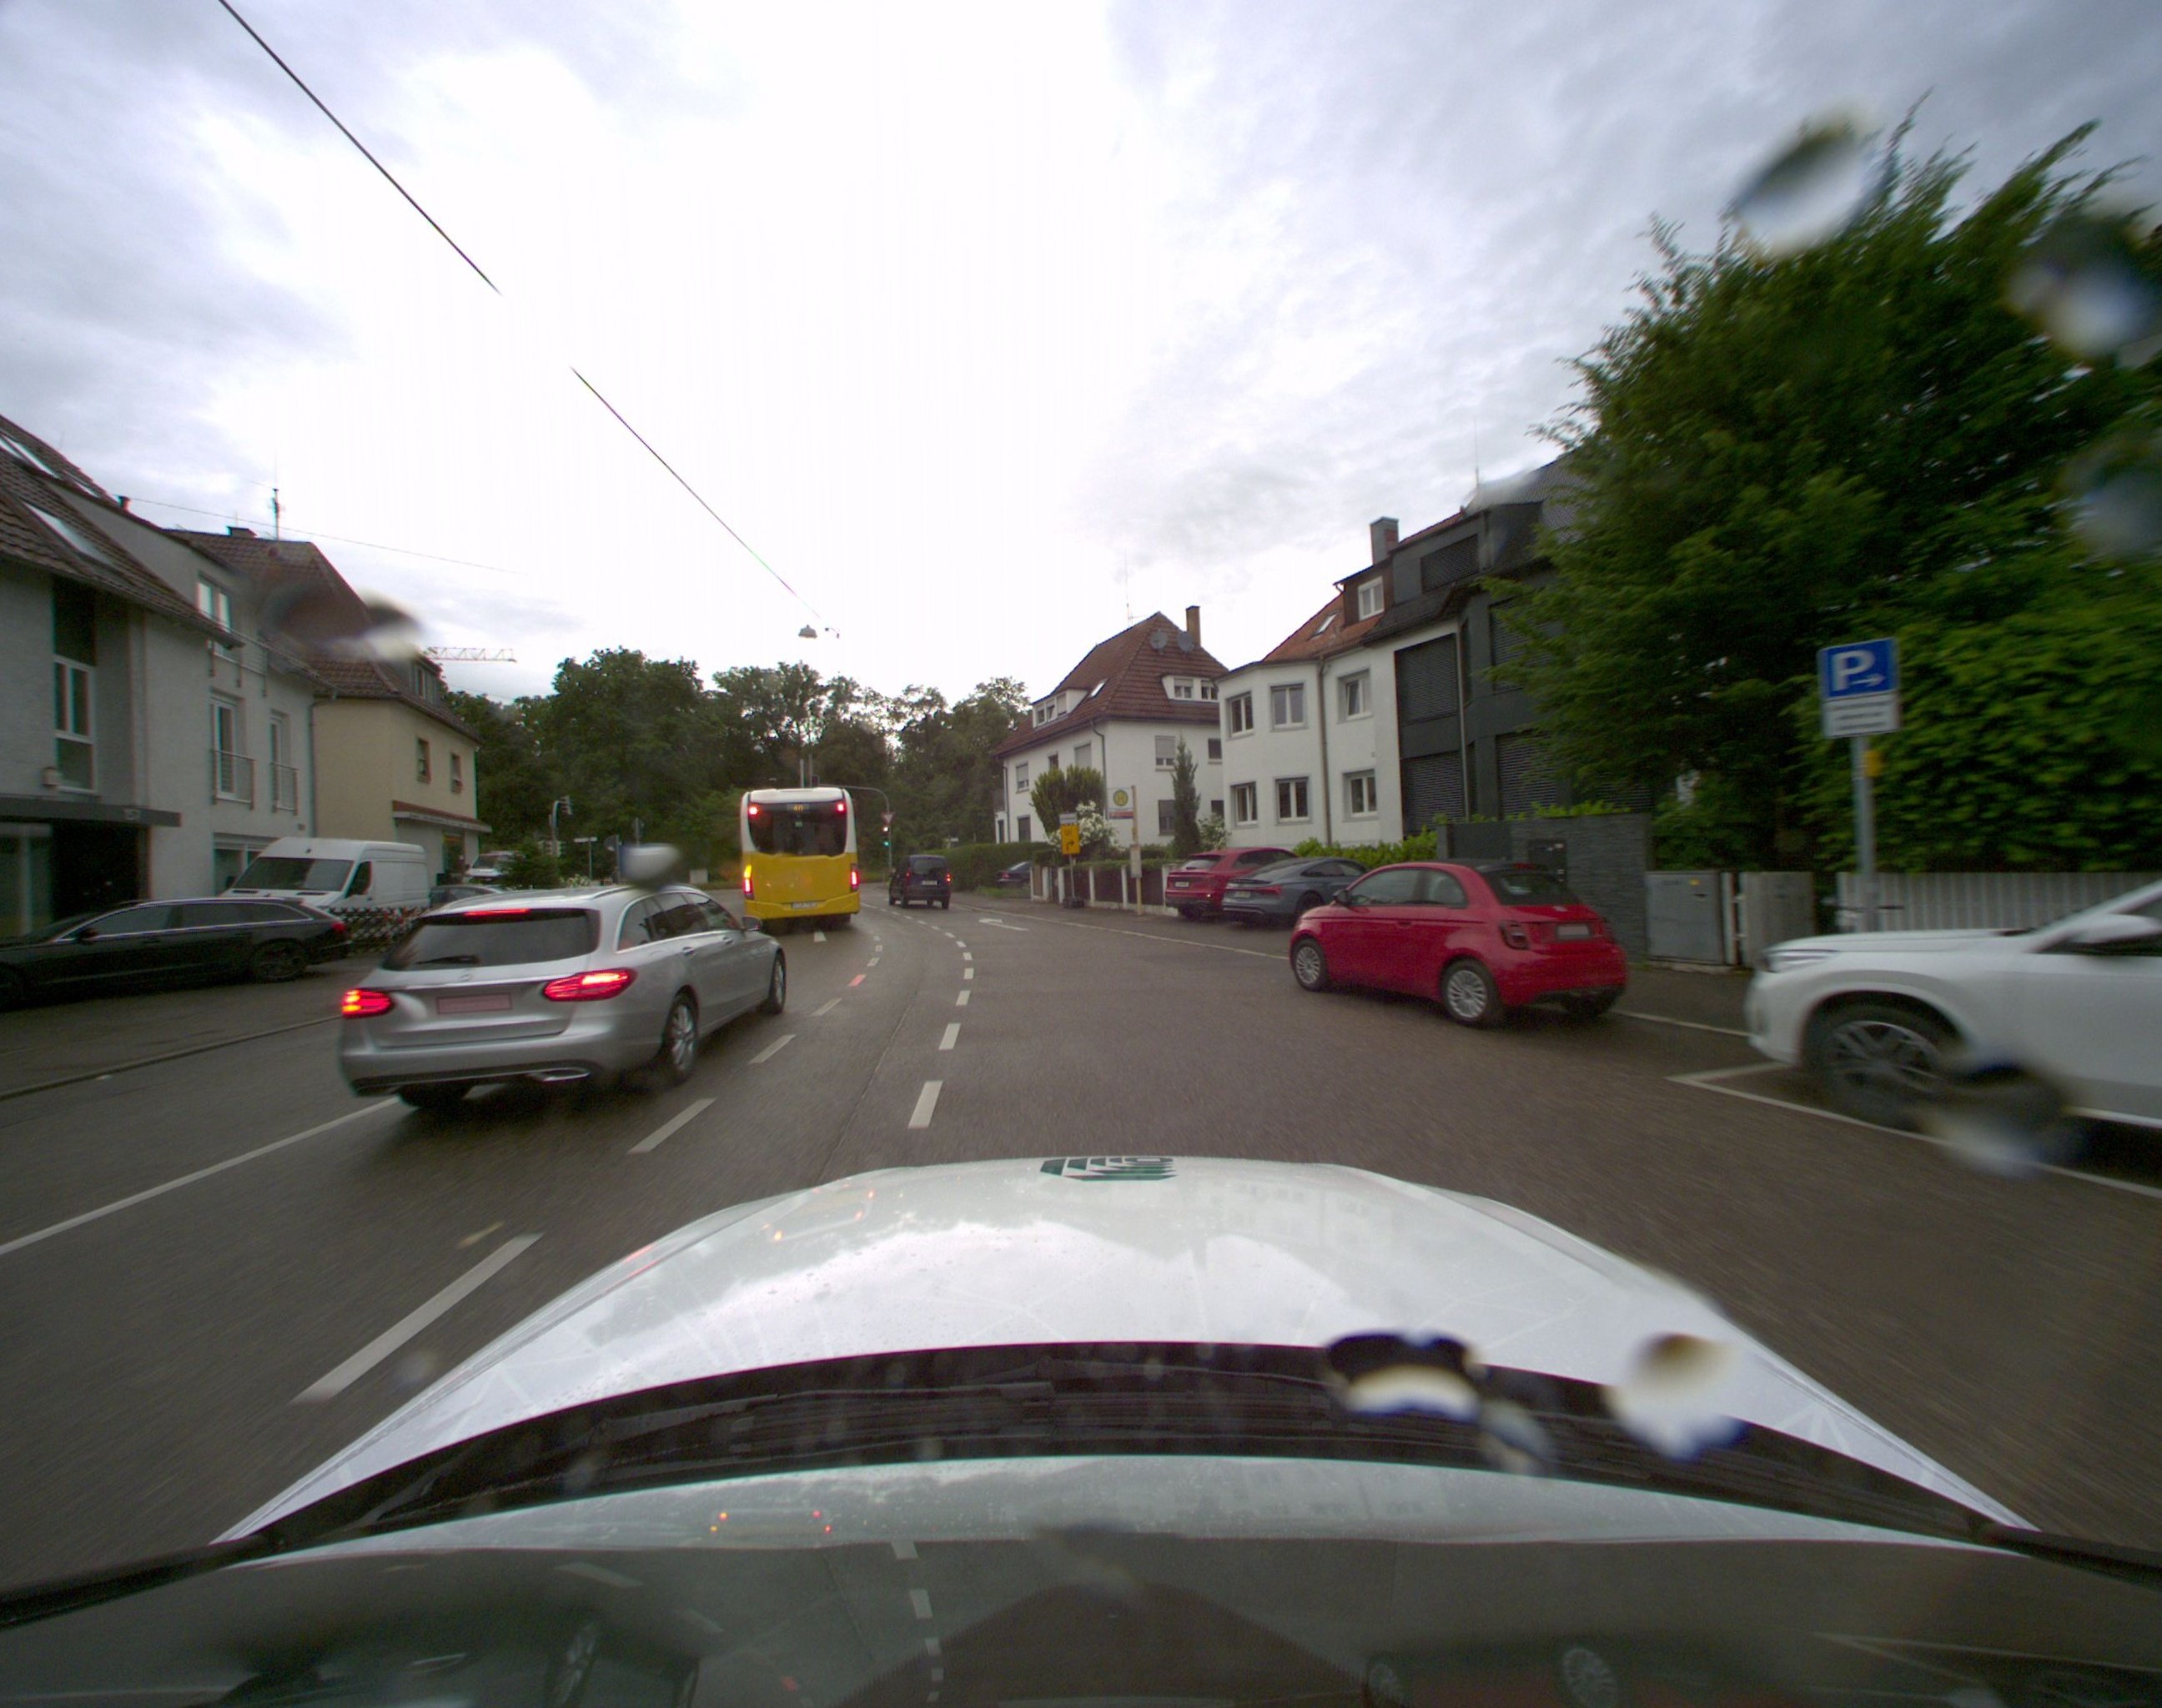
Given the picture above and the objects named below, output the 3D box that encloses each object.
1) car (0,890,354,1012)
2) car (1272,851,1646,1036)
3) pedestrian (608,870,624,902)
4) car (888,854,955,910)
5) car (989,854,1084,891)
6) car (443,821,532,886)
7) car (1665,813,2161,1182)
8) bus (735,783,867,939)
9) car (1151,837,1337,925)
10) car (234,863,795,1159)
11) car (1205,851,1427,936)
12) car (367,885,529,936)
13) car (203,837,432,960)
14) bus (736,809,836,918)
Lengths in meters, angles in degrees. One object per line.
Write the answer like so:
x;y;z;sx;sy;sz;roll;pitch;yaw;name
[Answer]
-14.776;1.419;12.781;1.780;1.495;4.713;0;0;32;car
3.766;0.761;8.771;1.617;1.537;3.515;0;0;-22;car
-23.798;1.614;41.663;0.603;1.618;0.428;0;-1;-43;pedestrian
-5.794;0.970;29.210;1.814;1.797;3.974;-2;-1;-19;car
-1.925;0.761;35.191;3.762;1.388;1.603;-2;2;-25;car
-24.239;-0.004;33.480;2.004;2.448;5.447;-1;-1;-26;car
5.775;0.641;3.875;1.752;1.672;4.610;0;0;-24;car
-7.788;0.161;22.355;2.687;3.398;8.619;-2;0;-21;bus
3.964;0.568;19.647;4.101;1.750;1.980;-3;1;-32;car
-3.980;0.898;6.895;1.992;1.479;4.474;-2;1;-8;car
5.152;0.768;17.696;4.576;1.416;1.981;-3;1;-30;car
-19.543;1.711;25.373;3.844;1.344;1.785;0;0;-33;car
-17.612;0.927;19.222;2.001;2.448;5.455;-1;-1;-21;car
-11.109;0.314;30.631;2.910;3.398;8.977;-2;0;-21;bus
